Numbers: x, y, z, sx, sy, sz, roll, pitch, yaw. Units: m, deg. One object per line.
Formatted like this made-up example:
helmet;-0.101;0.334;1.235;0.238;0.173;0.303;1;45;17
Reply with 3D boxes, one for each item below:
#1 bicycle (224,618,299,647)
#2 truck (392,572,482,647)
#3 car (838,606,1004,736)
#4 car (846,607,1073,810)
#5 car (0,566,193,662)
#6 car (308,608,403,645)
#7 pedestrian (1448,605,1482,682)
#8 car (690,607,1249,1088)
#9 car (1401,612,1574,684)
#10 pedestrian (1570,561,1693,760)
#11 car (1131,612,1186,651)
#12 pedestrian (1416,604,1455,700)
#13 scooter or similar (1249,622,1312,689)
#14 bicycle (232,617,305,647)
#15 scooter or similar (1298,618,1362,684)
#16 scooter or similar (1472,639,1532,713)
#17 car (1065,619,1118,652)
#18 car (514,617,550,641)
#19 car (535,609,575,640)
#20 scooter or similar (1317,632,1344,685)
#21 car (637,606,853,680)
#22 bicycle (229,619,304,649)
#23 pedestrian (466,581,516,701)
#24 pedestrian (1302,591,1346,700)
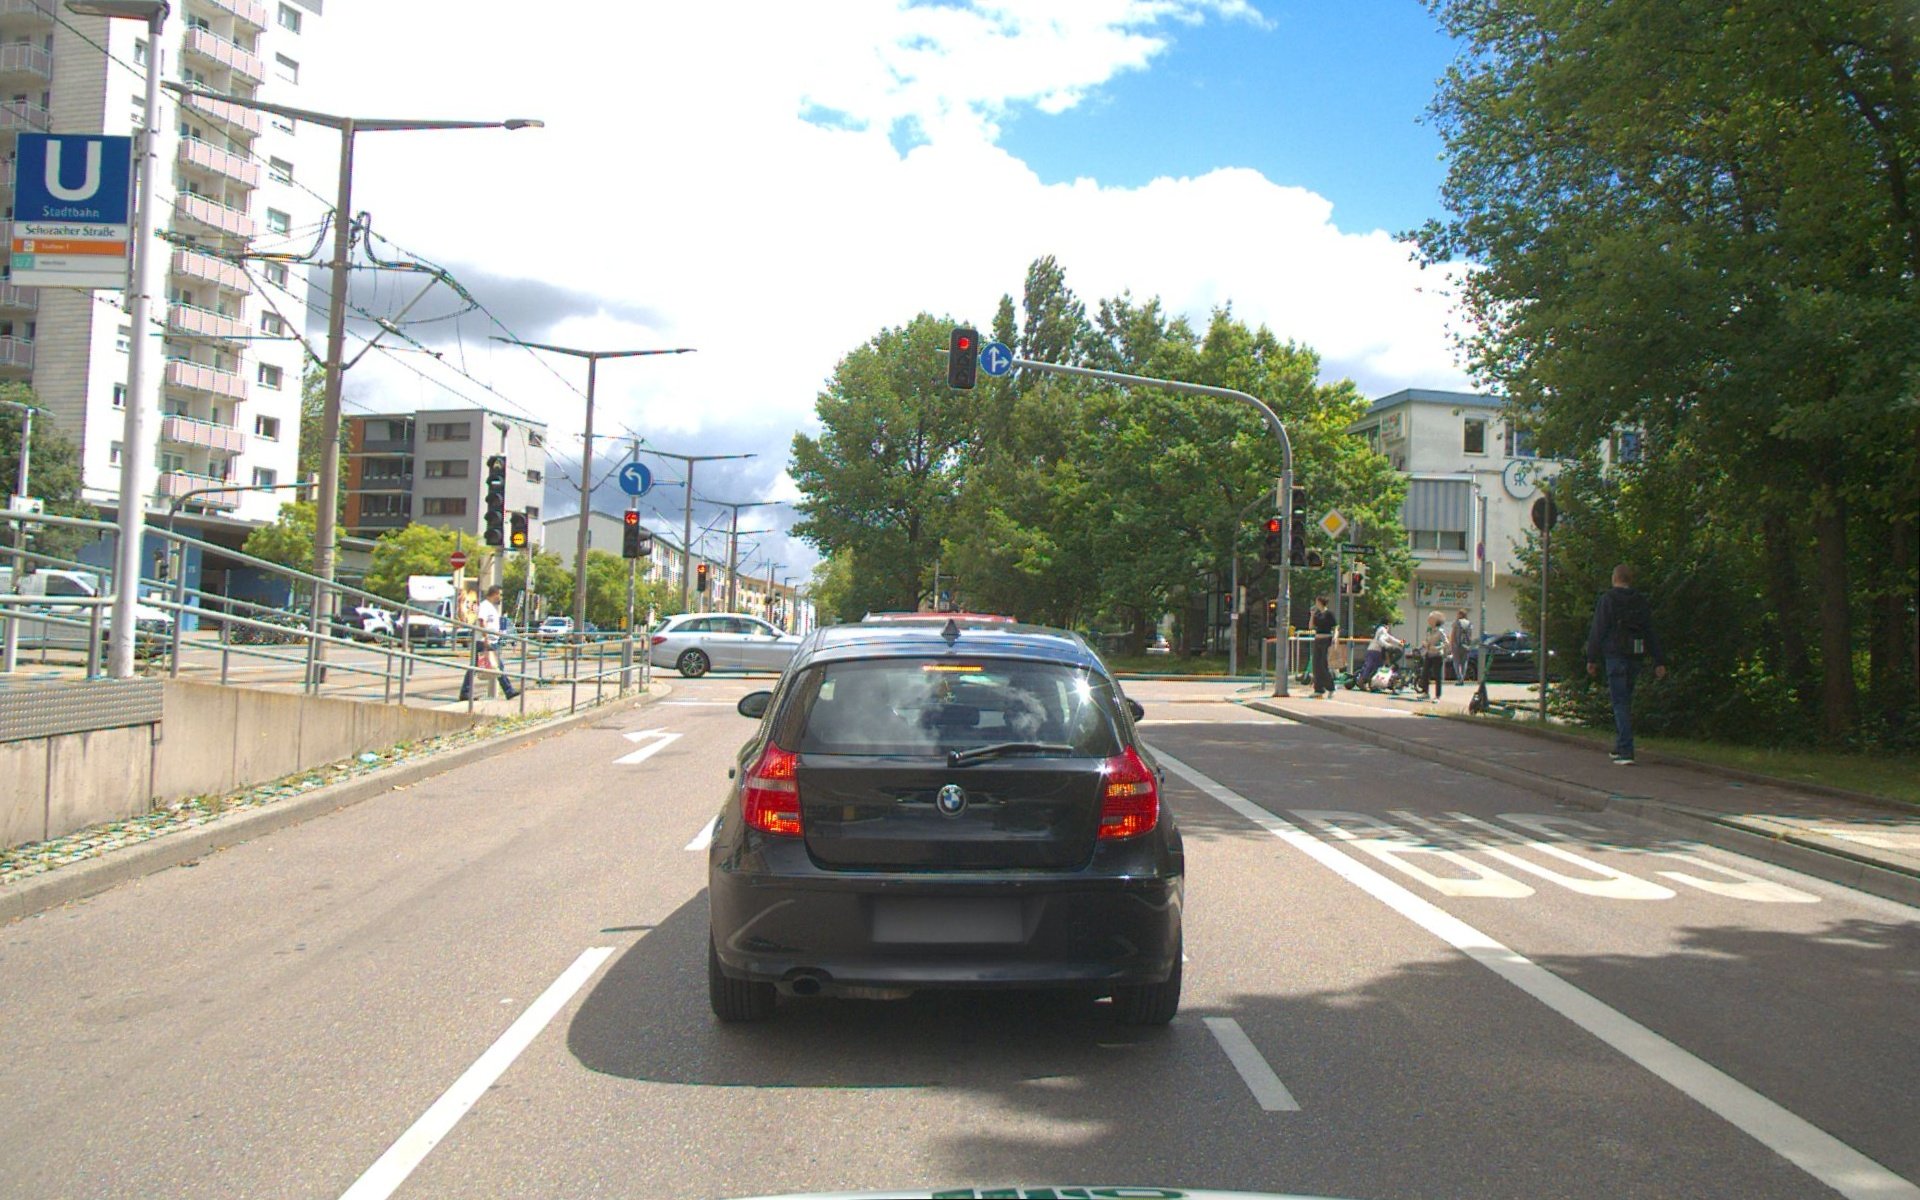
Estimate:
bicycle;-26.541;1.240;62.822;2.528;1.026;0.748;3;-3;-29
truck;-23.572;0.451;74.906;2.237;3.172;7.311;2;-1;-5
car;-0.472;0.817;21.109;1.862;1.447;4.538;1;0;-1
car;-0.026;0.791;13.614;1.605;1.424;3.419;1;0;-1
car;-19.349;0.272;35.168;5.071;1.926;1.997;1;-1;-7
car;-28.298;1.238;77.496;1.628;1.676;3.898;1;-1;43
pedestrian;11.552;0.982;37.797;0.644;1.743;0.461;1;-1;29
car;0.010;0.760;6.712;1.666;1.424;3.419;1;0;-1
car;15.462;1.382;48.576;4.451;2.049;1.996;0;0;-9
pedestrian;6.663;0.586;16.459;0.779;1.909;1.013;1;-1;-1
car;10.009;1.591;83.718;1.694;1.904;3.991;2;-1;-9
pedestrian;9.103;0.986;31.684;0.622;1.797;0.518;1;-1;8
scooter or similar;6.152;1.056;31.750;1.087;1.257;0.539;1;-1;1
bicycle;-26.713;1.242;63.921;2.528;1.026;0.748;3;-3;-29
scooter or similar;7.425;1.017;33.191;1.127;1.294;0.555;1;-1;-1
scooter or similar;9.410;1.311;28.729;0.871;1.252;0.454;1;-1;-1
car;7.172;1.941;90.757;1.830;1.691;3.988;2;-1;-12
car;-28.813;1.938;111.445;1.559;1.500;3.773;2;-1;-2
car;-24.740;1.496;101.123;1.559;1.787;3.773;2;-1;-2
scooter or similar;7.843;1.229;35.011;0.536;1.082;1.263;1;0;13
car;-4.875;0.964;37.620;4.701;1.549;1.996;1;-1;-9
bicycle;-26.034;1.291;62.108;2.528;1.026;0.748;3;-3;-29
pedestrian;-7.047;0.613;24.857;0.676;1.764;0.684;1;-1;-17
pedestrian;6.449;0.805;29.306;0.623;1.909;0.518;1;-1;-2
